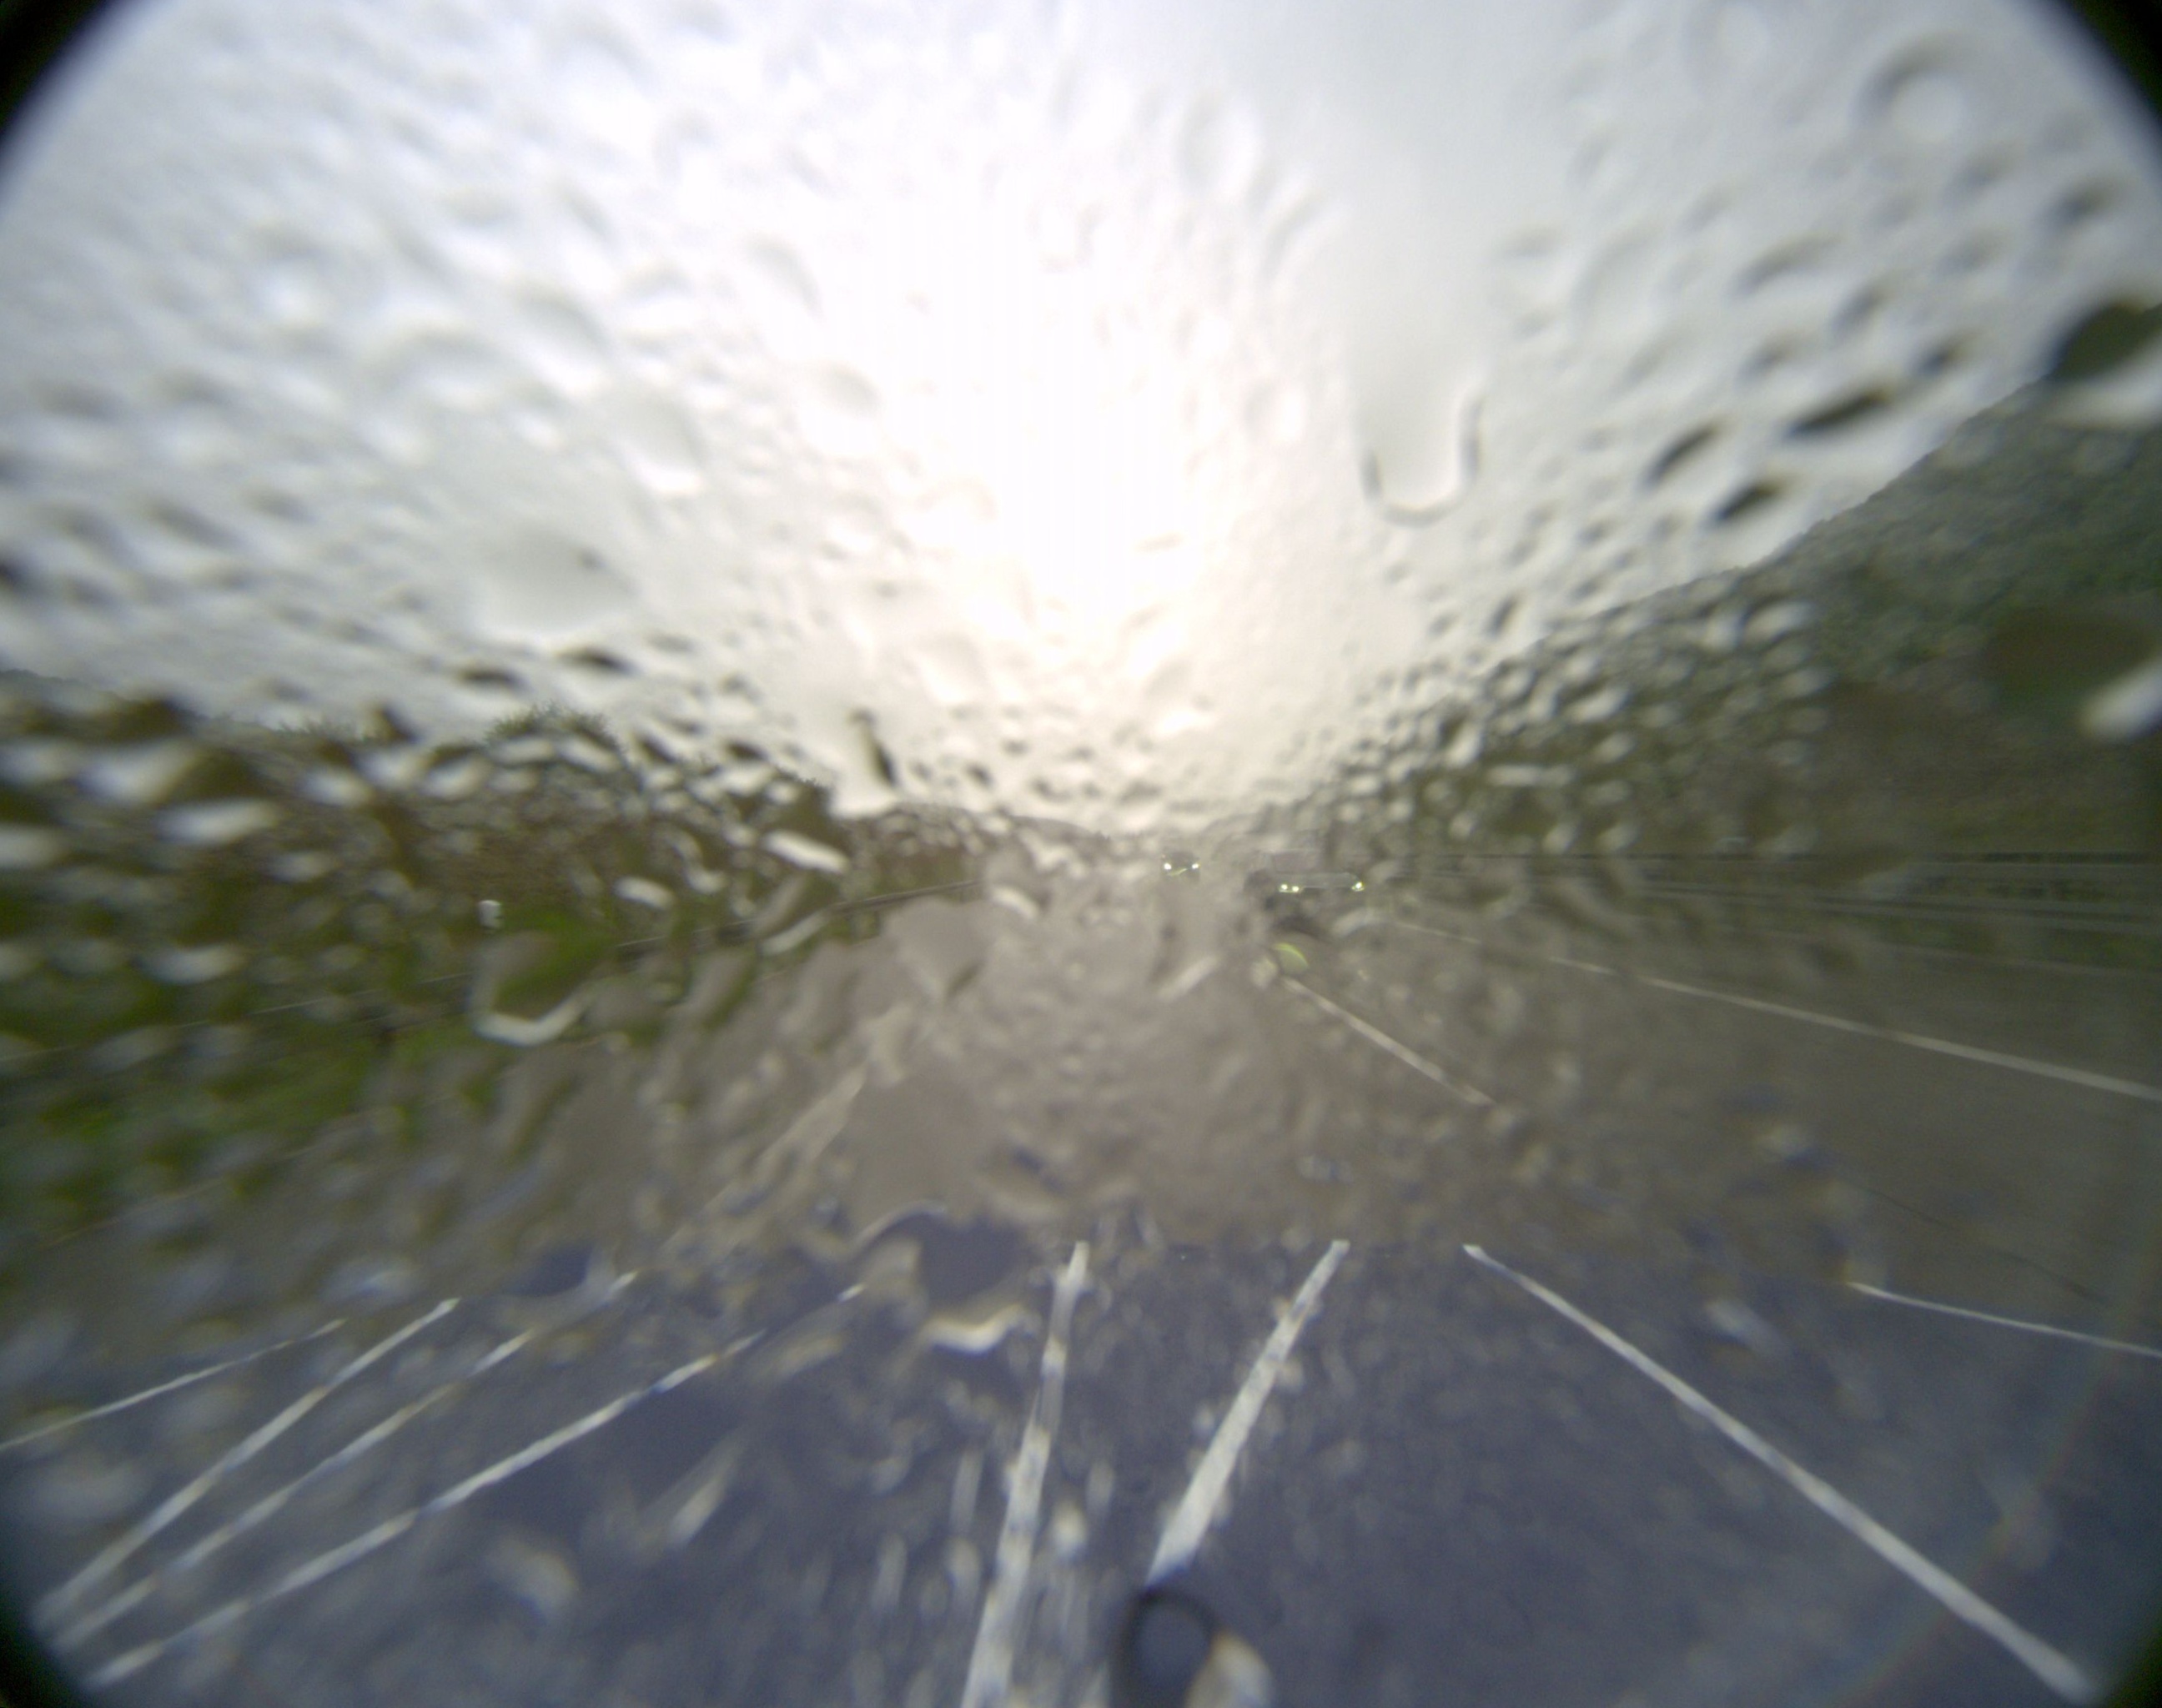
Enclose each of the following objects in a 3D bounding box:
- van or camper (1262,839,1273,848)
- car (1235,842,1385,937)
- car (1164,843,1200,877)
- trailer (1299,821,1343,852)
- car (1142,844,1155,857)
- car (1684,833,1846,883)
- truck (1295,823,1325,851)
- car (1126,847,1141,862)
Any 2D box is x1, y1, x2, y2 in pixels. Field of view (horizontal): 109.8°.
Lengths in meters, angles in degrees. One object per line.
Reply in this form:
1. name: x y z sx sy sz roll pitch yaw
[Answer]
1. van or camper: 56.088 -3.255 228.555 2.348 2.549 7.209 -2 0 9
2. car: 4.808 0.644 16.801 1.998 1.673 4.909 -4 1 3
3. car: 5.530 0.298 42.003 1.814 1.692 3.750 -3 1 6
4. trailer: 31.000 -2.236 98.755 2.819 3.660 13.252 -2 0 7
5. car: 11.537 -0.600 130.679 1.998 2.001 4.001 -2 -1 3
6. car: 21.611 0.118 24.228 1.798 1.412 3.776 -2 0 2
7. truck: 31.855 -2.342 105.838 2.786 3.662 6.210 -2 1 7
8. car: 7.398 0.068 107.387 1.835 2.002 3.938 -4 1 2
